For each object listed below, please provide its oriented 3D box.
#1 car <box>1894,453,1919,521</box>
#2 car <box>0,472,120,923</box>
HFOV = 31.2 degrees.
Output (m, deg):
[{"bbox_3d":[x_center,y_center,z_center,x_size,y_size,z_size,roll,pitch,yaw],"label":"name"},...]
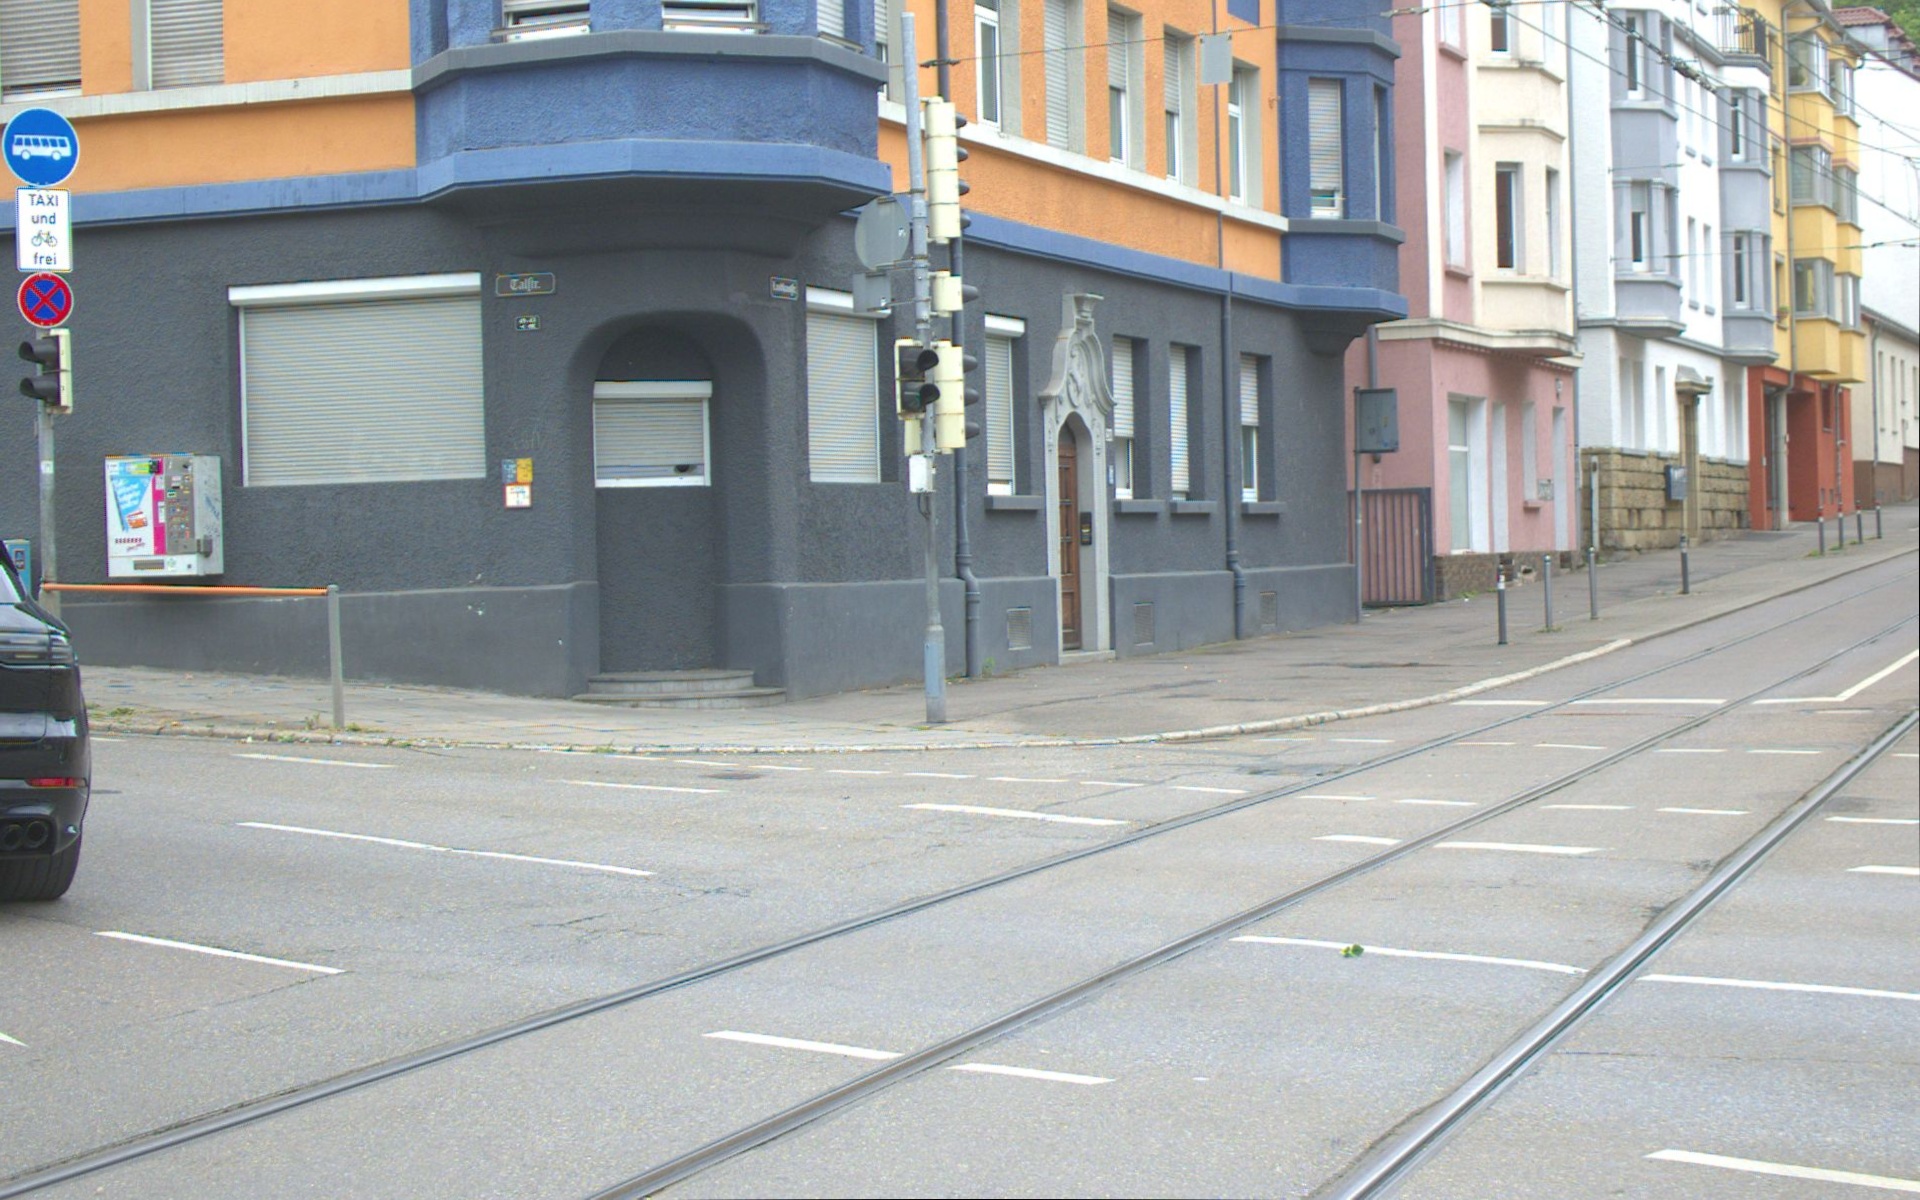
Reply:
[{"bbox_3d":[24.913,-2.838,86.968,1.996,1.686,3.996,1,2,22],"label":"car"},{"bbox_3d":[-5.018,0.293,14.118,2.024,1.636,4.357,1,1,-28],"label":"car"}]
